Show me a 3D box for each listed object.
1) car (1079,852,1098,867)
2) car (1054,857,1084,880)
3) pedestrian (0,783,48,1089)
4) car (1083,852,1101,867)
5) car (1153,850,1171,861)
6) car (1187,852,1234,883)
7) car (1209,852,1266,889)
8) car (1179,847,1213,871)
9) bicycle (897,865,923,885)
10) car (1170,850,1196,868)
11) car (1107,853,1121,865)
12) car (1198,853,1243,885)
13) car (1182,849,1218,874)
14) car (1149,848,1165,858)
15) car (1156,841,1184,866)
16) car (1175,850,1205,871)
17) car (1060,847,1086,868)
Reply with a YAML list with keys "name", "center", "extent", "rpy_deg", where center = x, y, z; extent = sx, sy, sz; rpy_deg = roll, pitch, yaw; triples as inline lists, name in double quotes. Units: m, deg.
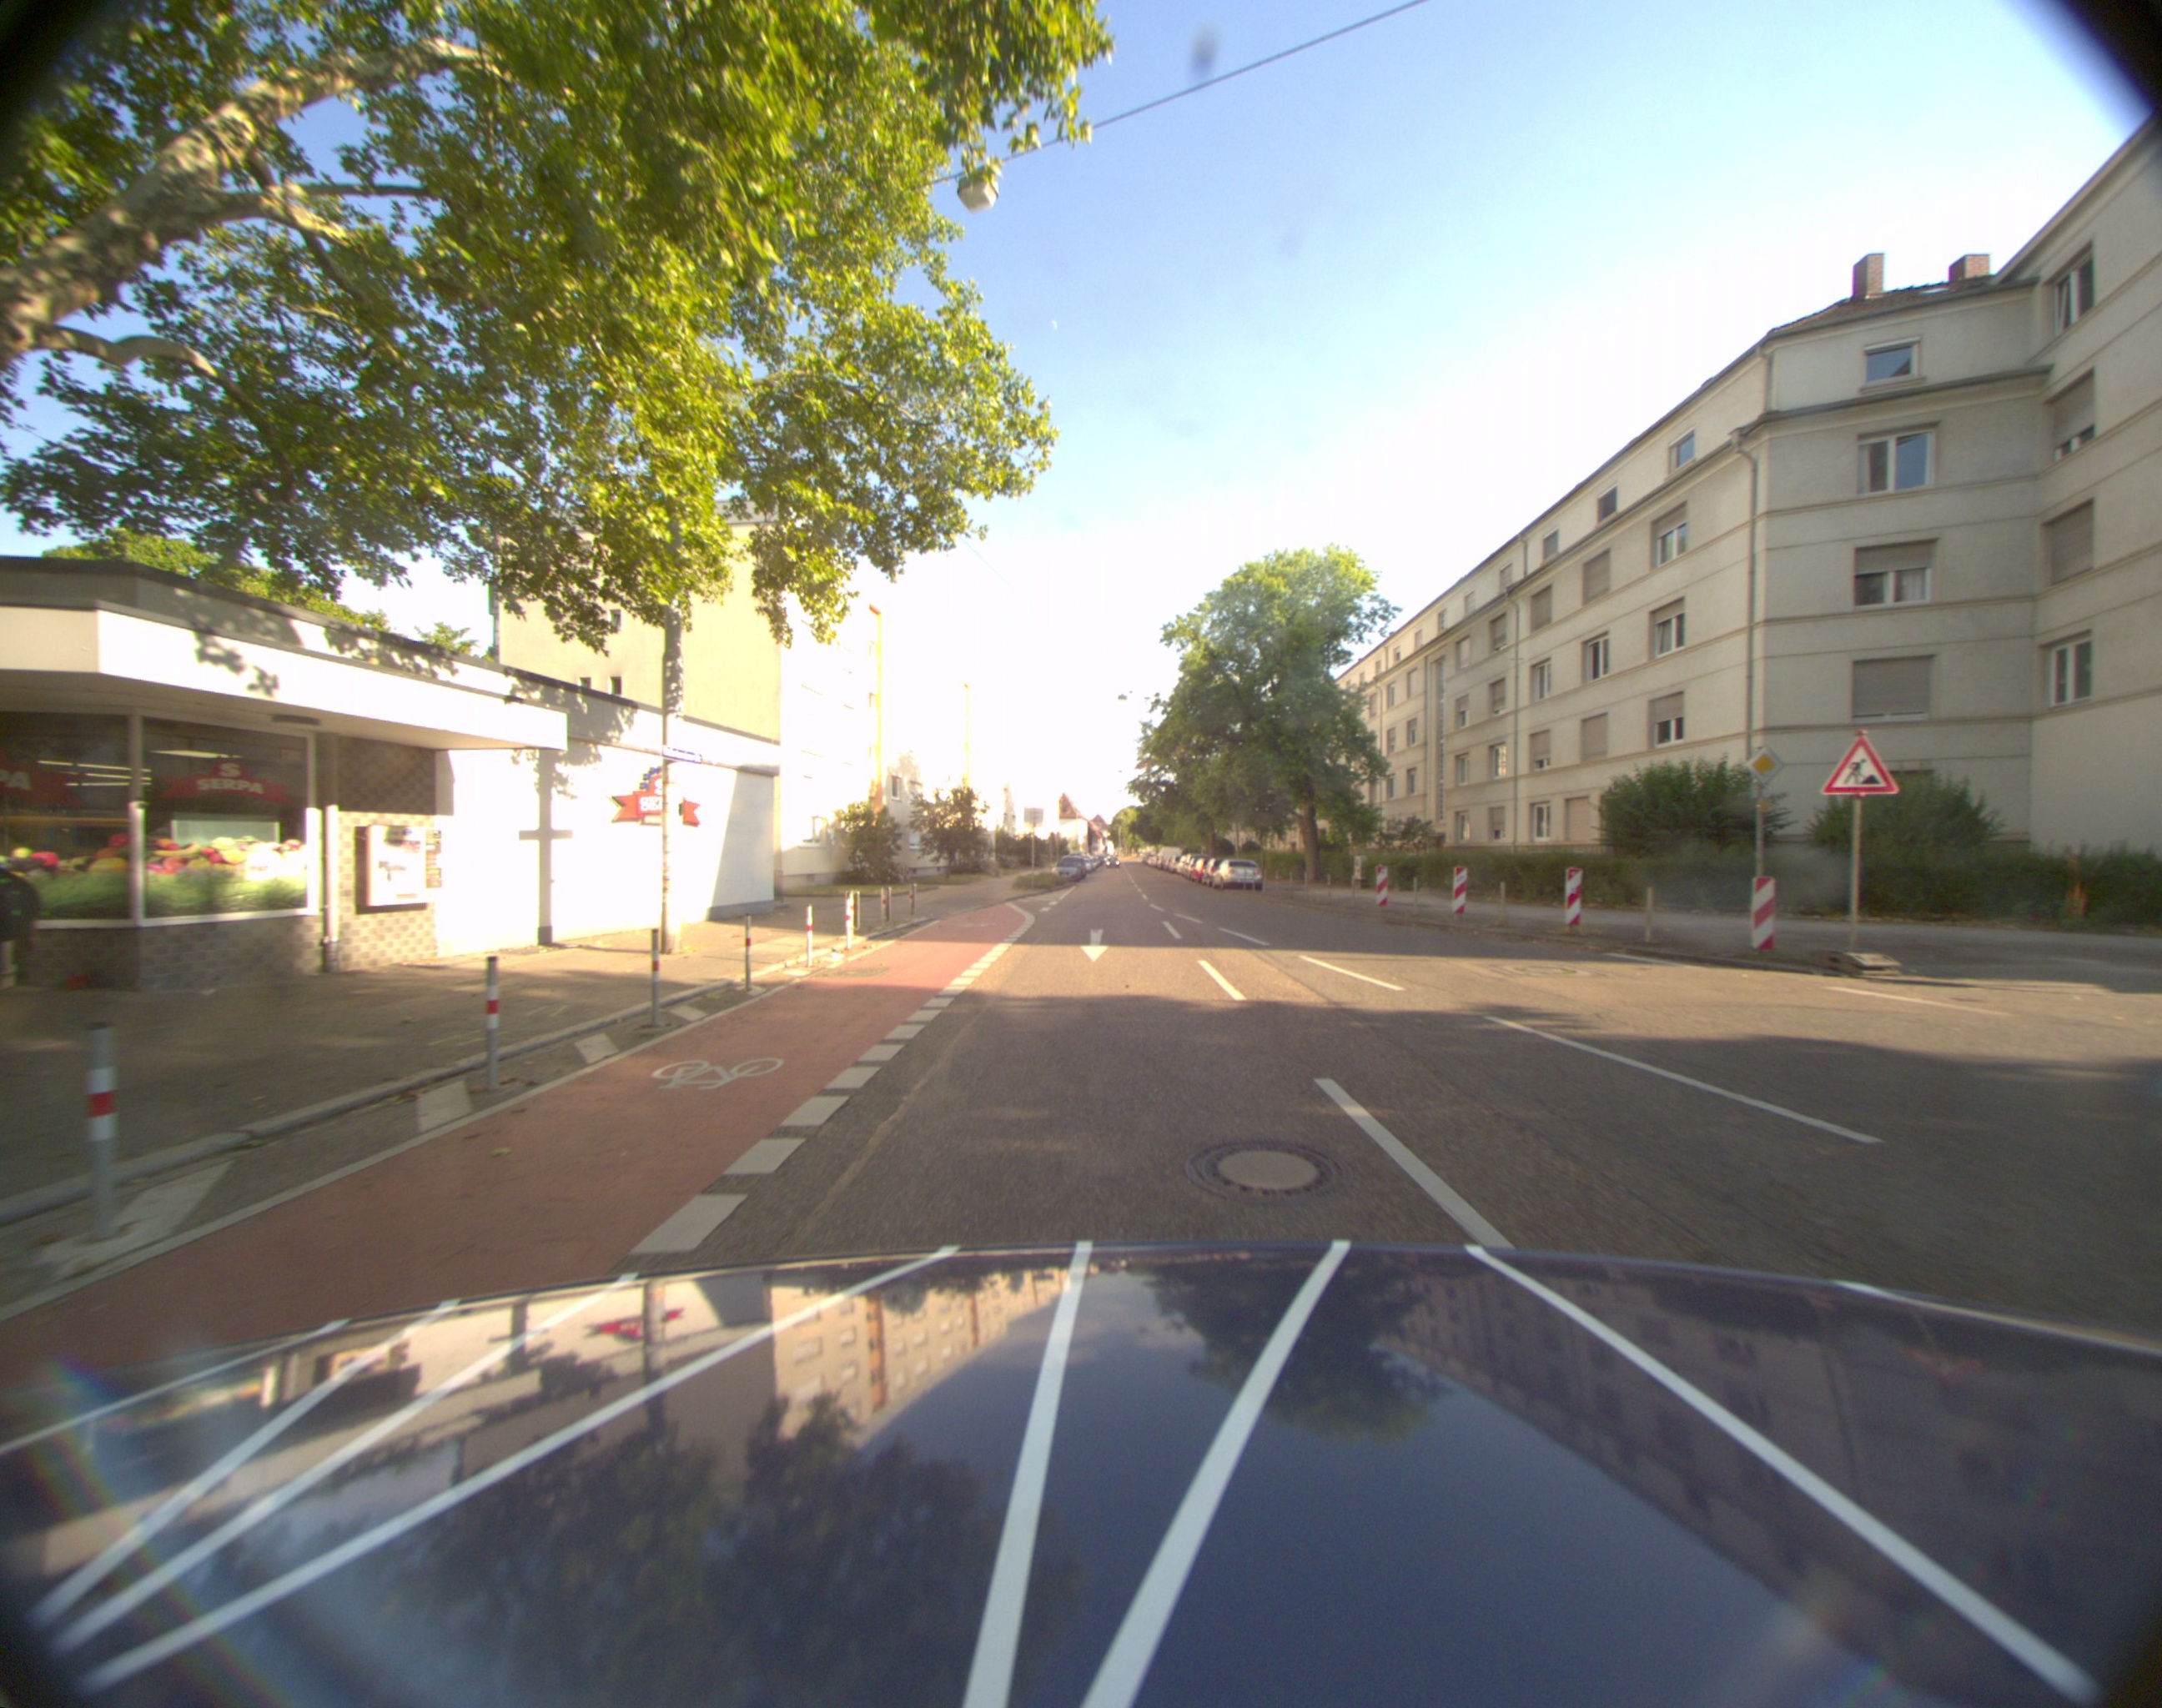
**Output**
- name: "car"
  center: [0.824, 0.579, 84.649]
  extent: [1.841, 1.493, 4.172]
  rpy_deg: [2, 2, 4]
- name: "car"
  center: [-0.743, 0.923, 49.834]
  extent: [1.744, 1.464, 4.001]
  rpy_deg: [0, 0, 3]
- name: "pedestrian"
  center: [-7.657, 0.510, 5.027]
  extent: [1.149, 2.002, 0.831]
  rpy_deg: [4, 2, 29]
- name: "car"
  center: [1.088, 0.484, 73.360]
  extent: [1.683, 1.407, 4.724]
  rpy_deg: [0, 0, 2]
- name: "car"
  center: [10.603, 0.154, 99.223]
  extent: [1.878, 1.347, 4.653]
  rpy_deg: [0, 0, 0]
- name: "car"
  center: [7.557, 0.758, 44.765]
  extent: [1.876, 1.549, 3.999]
  rpy_deg: [-5, 1, -2]
- name: "car"
  center: [7.193, 0.707, 35.303]
  extent: [1.773, 1.345, 4.710]
  rpy_deg: [-6, 1, 3]
- name: "car"
  center: [8.285, 0.338, 55.017]
  extent: [1.921, 1.668, 4.975]
  rpy_deg: [0, 0, 3]
- name: "bicycle"
  center: [-8.304, 1.032, 37.012]
  extent: [0.638, 0.920, 2.230]
  rpy_deg: [-2, -1, 3]
- name: "car"
  center: [8.850, 0.421, 66.335]
  extent: [1.875, 1.549, 5.057]
  rpy_deg: [0, 0, 3]
- name: "car"
  center: [4.434, 0.648, 101.180]
  extent: [1.775, 1.492, 3.675]
  rpy_deg: [-1, 0, 5]
- name: "car"
  center: [7.281, 0.739, 40.107]
  extent: [1.708, 1.431, 4.128]
  rpy_deg: [-4, 1, 3]
- name: "car"
  center: [7.818, 0.463, 50.139]
  extent: [1.875, 1.549, 4.498]
  rpy_deg: [0, 0, 3]
- name: "car"
  center: [11.437, -0.136, 114.567]
  extent: [2.009, 1.543, 4.472]
  rpy_deg: [0, 0, 1]
- name: "car"
  center: [9.658, -0.077, 82.653]
  extent: [2.364, 2.431, 6.164]
  rpy_deg: [-3, 1, 2]
- name: "car"
  center: [8.687, 0.516, 60.911]
  extent: [1.875, 1.549, 4.102]
  rpy_deg: [2, -1, 2]
- name: "car"
  center: [-0.620, 0.300, 62.465]
  extent: [1.902, 1.641, 4.343]
  rpy_deg: [0, 0, 3]
